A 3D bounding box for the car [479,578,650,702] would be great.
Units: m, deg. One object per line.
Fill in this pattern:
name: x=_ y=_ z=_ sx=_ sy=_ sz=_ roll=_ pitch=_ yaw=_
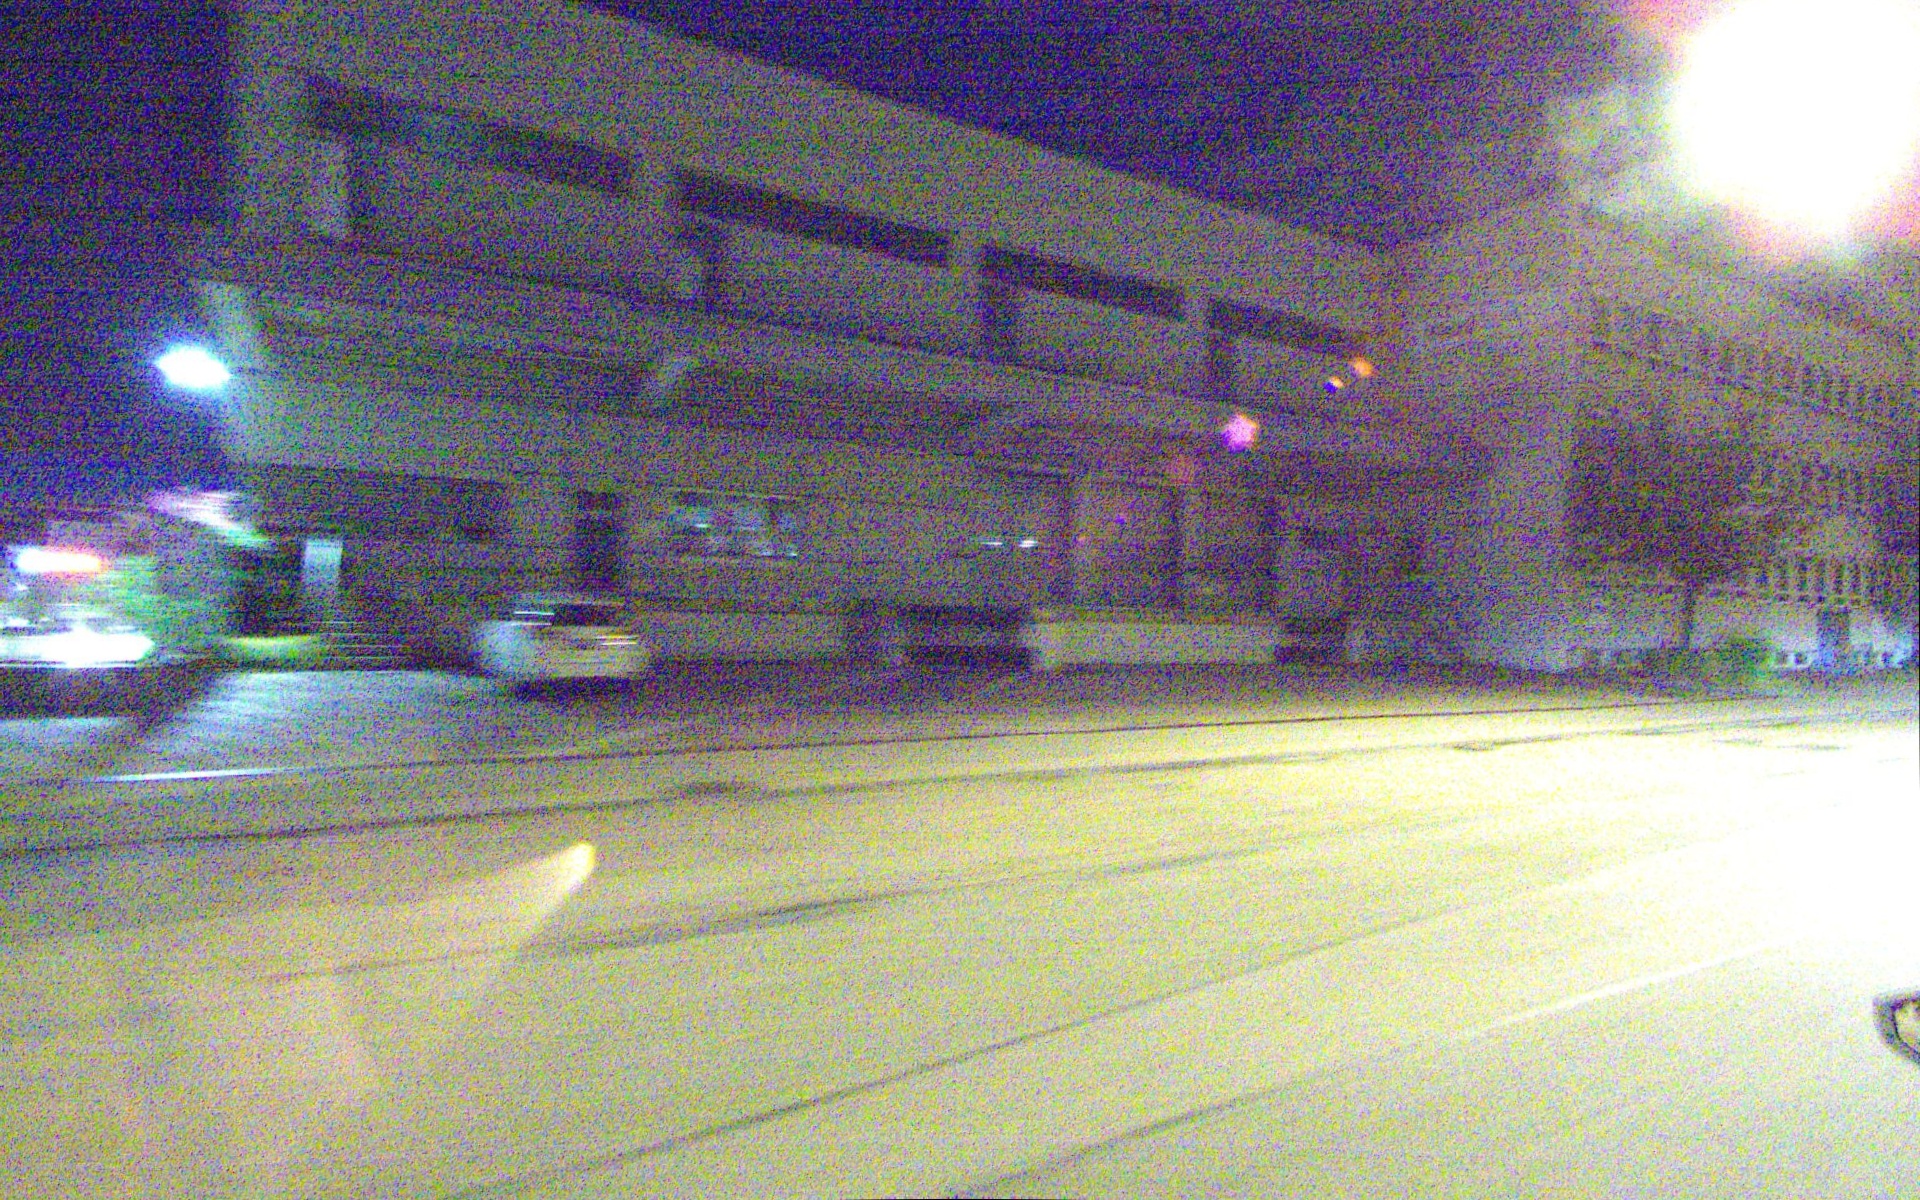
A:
car: x=-6.209 y=0.517 z=15.511 sx=1.786 sy=1.483 sz=3.965 roll=1 pitch=3 yaw=-31
